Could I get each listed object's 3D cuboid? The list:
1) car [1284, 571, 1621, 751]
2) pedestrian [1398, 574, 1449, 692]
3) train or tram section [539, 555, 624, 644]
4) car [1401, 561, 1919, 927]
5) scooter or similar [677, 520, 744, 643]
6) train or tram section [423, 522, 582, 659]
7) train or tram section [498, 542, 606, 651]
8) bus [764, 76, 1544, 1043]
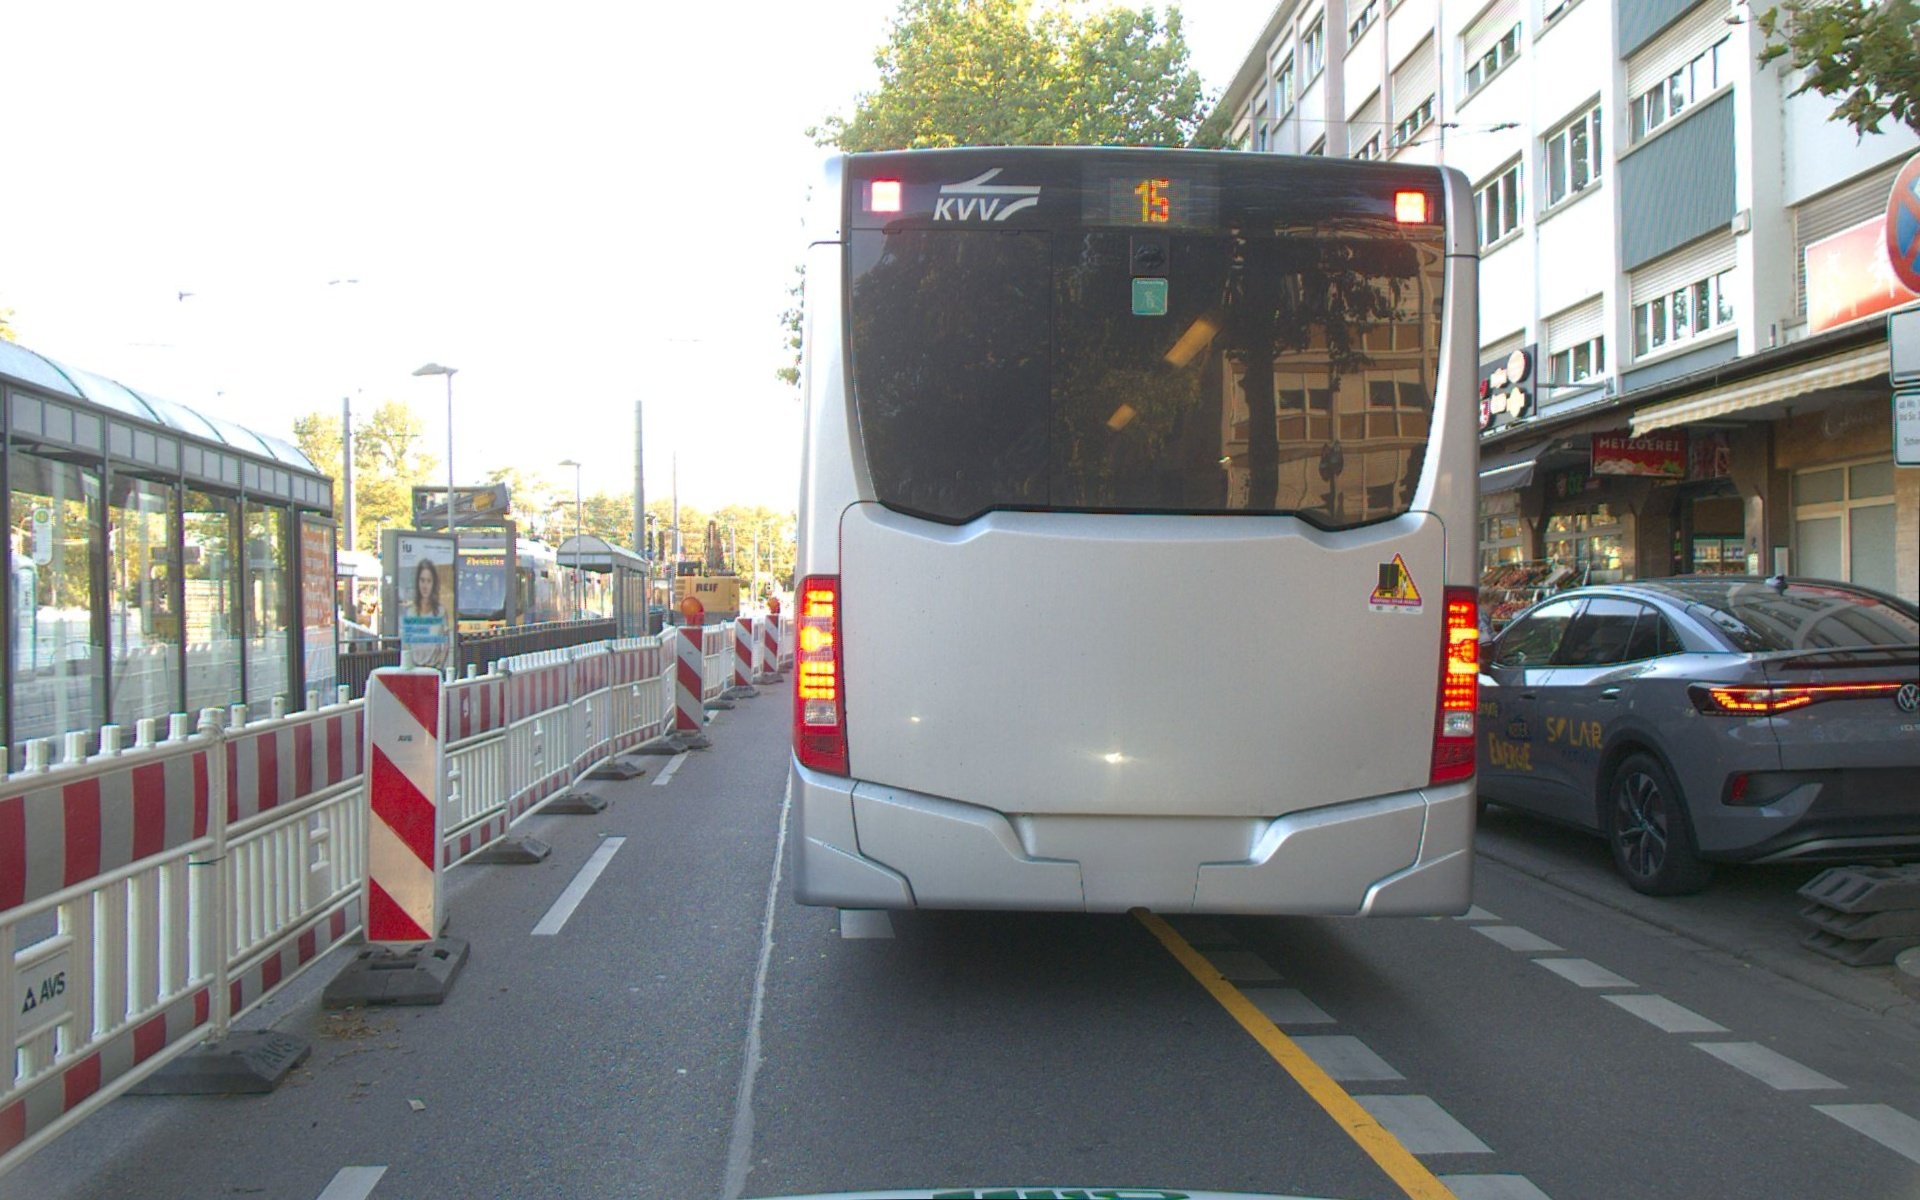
[{"bbox_3d":[5.105,0.560,17.852,1.955,1.609,4.363,-3,1,-5],"label":"car"},{"bbox_3d":[6.830,0.488,24.368,0.649,1.696,0.601,-2,-1,15],"label":"pedestrian"},{"bbox_3d":[-16.539,-0.003,72.992,2.636,3.594,11.560,1,0,-8],"label":"train or tram section"},{"bbox_3d":[4.371,0.628,9.813,1.955,1.609,4.363,-3,1,-5],"label":"car"},{"bbox_3d":[-9.648,-0.684,64.258,2.422,4.549,5.962,0,0,-8],"label":"scooter or similar"},{"bbox_3d":[-13.526,-0.235,49.955,2.635,3.595,11.756,1,0,-6],"label":"train or tram section"},{"bbox_3d":[-14.996,-0.109,61.534,2.636,3.621,11.560,1,0,-8],"label":"train or tram section"},{"bbox_3d":[0.605,-0.121,9.531,2.558,3.181,7.991,1,0,-1],"label":"bus"}]
